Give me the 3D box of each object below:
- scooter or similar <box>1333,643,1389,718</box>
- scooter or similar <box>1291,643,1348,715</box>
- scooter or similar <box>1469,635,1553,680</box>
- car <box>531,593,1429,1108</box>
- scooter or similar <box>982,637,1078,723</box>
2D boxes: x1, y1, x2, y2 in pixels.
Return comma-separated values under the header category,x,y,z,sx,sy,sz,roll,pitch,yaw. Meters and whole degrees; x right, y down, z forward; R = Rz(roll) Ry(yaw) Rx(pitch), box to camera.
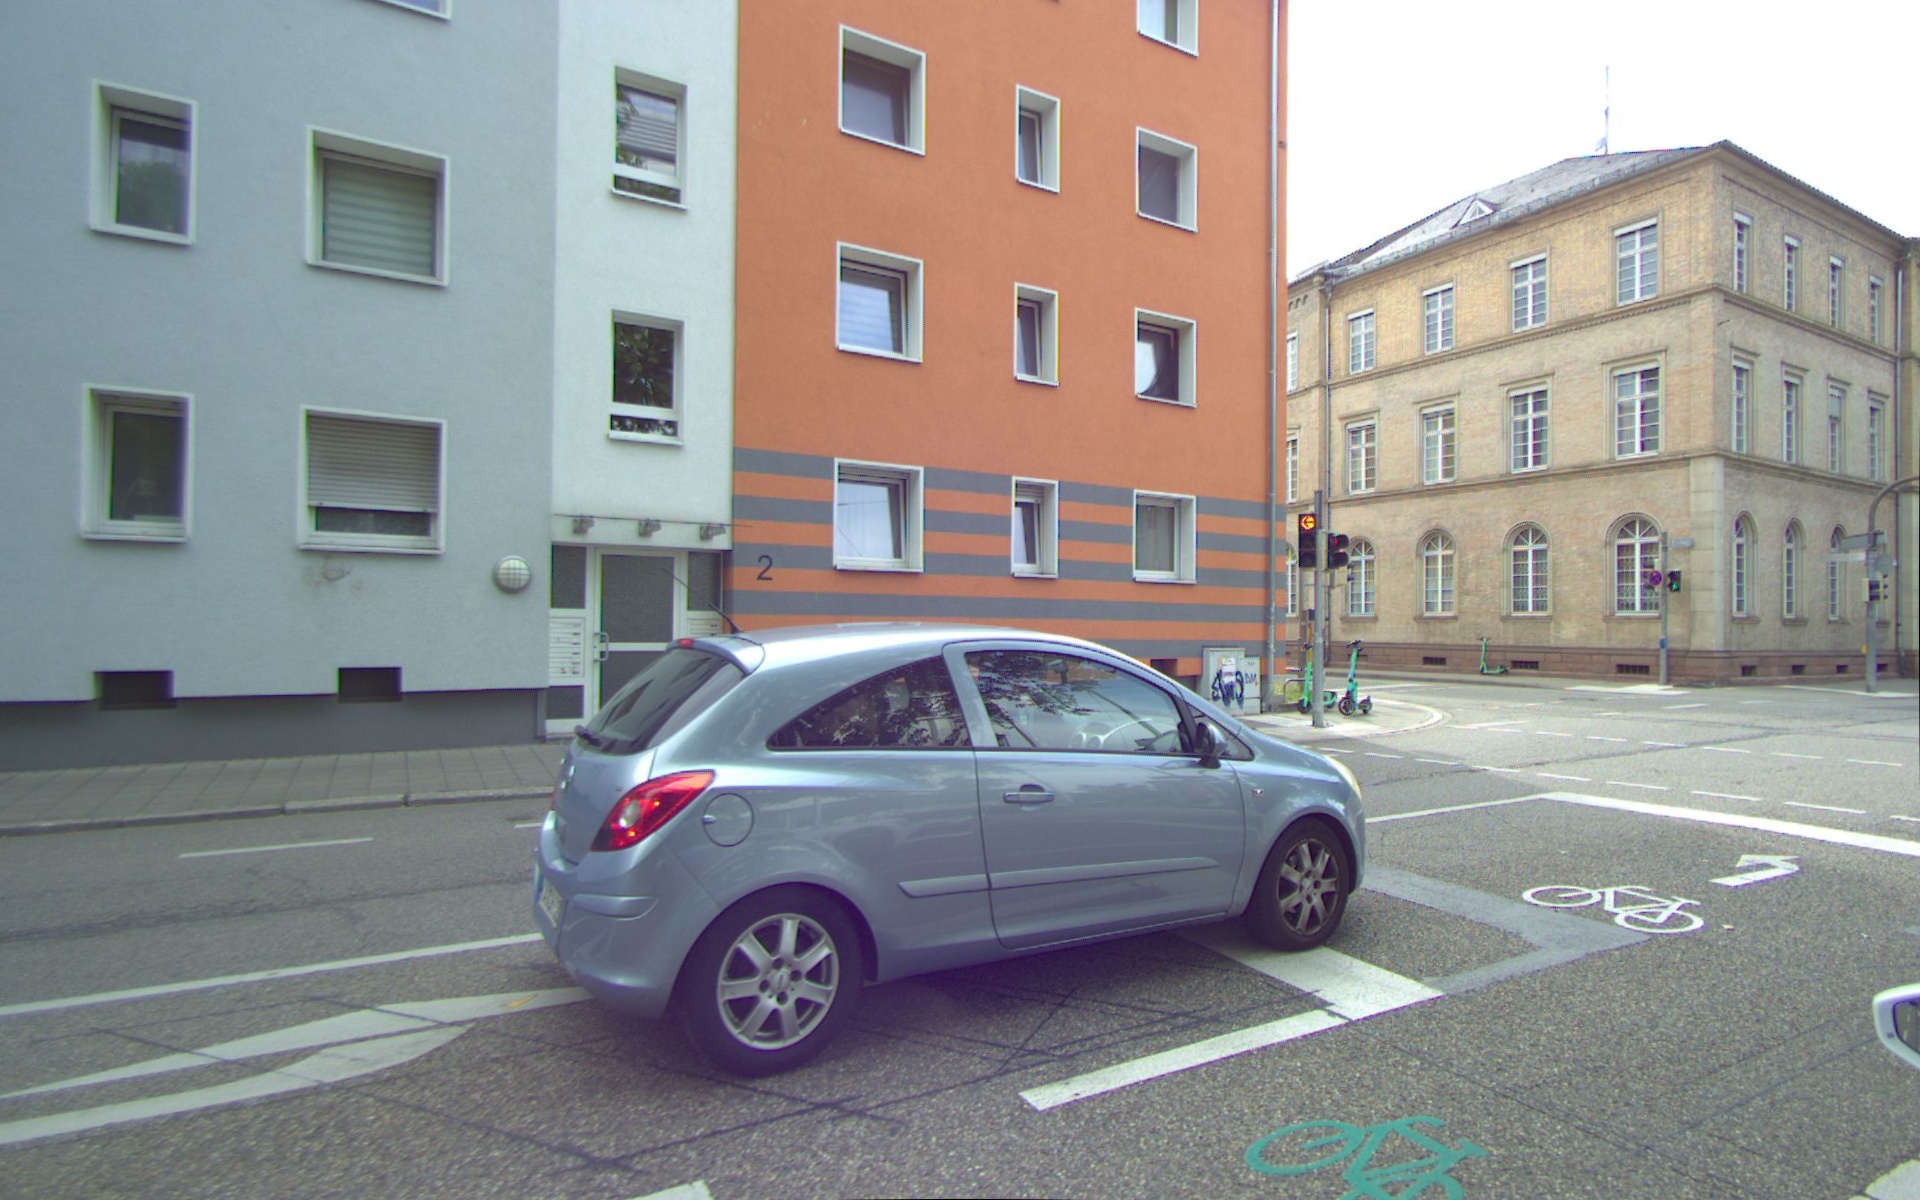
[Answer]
category,x,y,z,sx,sy,sz,roll,pitch,yaw
scooter or similar,6.784,1.344,16.959,1.333,1.194,0.326,1,0,-43
scooter or similar,6.216,1.347,17.324,1.344,1.173,0.326,1,0,-43
scooter or similar,16.395,1.686,29.963,0.552,1.180,2.362,1,0,-23
car,0.209,0.766,4.548,3.776,1.457,1.660,1,-2,-31
scooter or similar,0.980,1.096,13.960,1.338,1.139,0.367,1,0,-30
